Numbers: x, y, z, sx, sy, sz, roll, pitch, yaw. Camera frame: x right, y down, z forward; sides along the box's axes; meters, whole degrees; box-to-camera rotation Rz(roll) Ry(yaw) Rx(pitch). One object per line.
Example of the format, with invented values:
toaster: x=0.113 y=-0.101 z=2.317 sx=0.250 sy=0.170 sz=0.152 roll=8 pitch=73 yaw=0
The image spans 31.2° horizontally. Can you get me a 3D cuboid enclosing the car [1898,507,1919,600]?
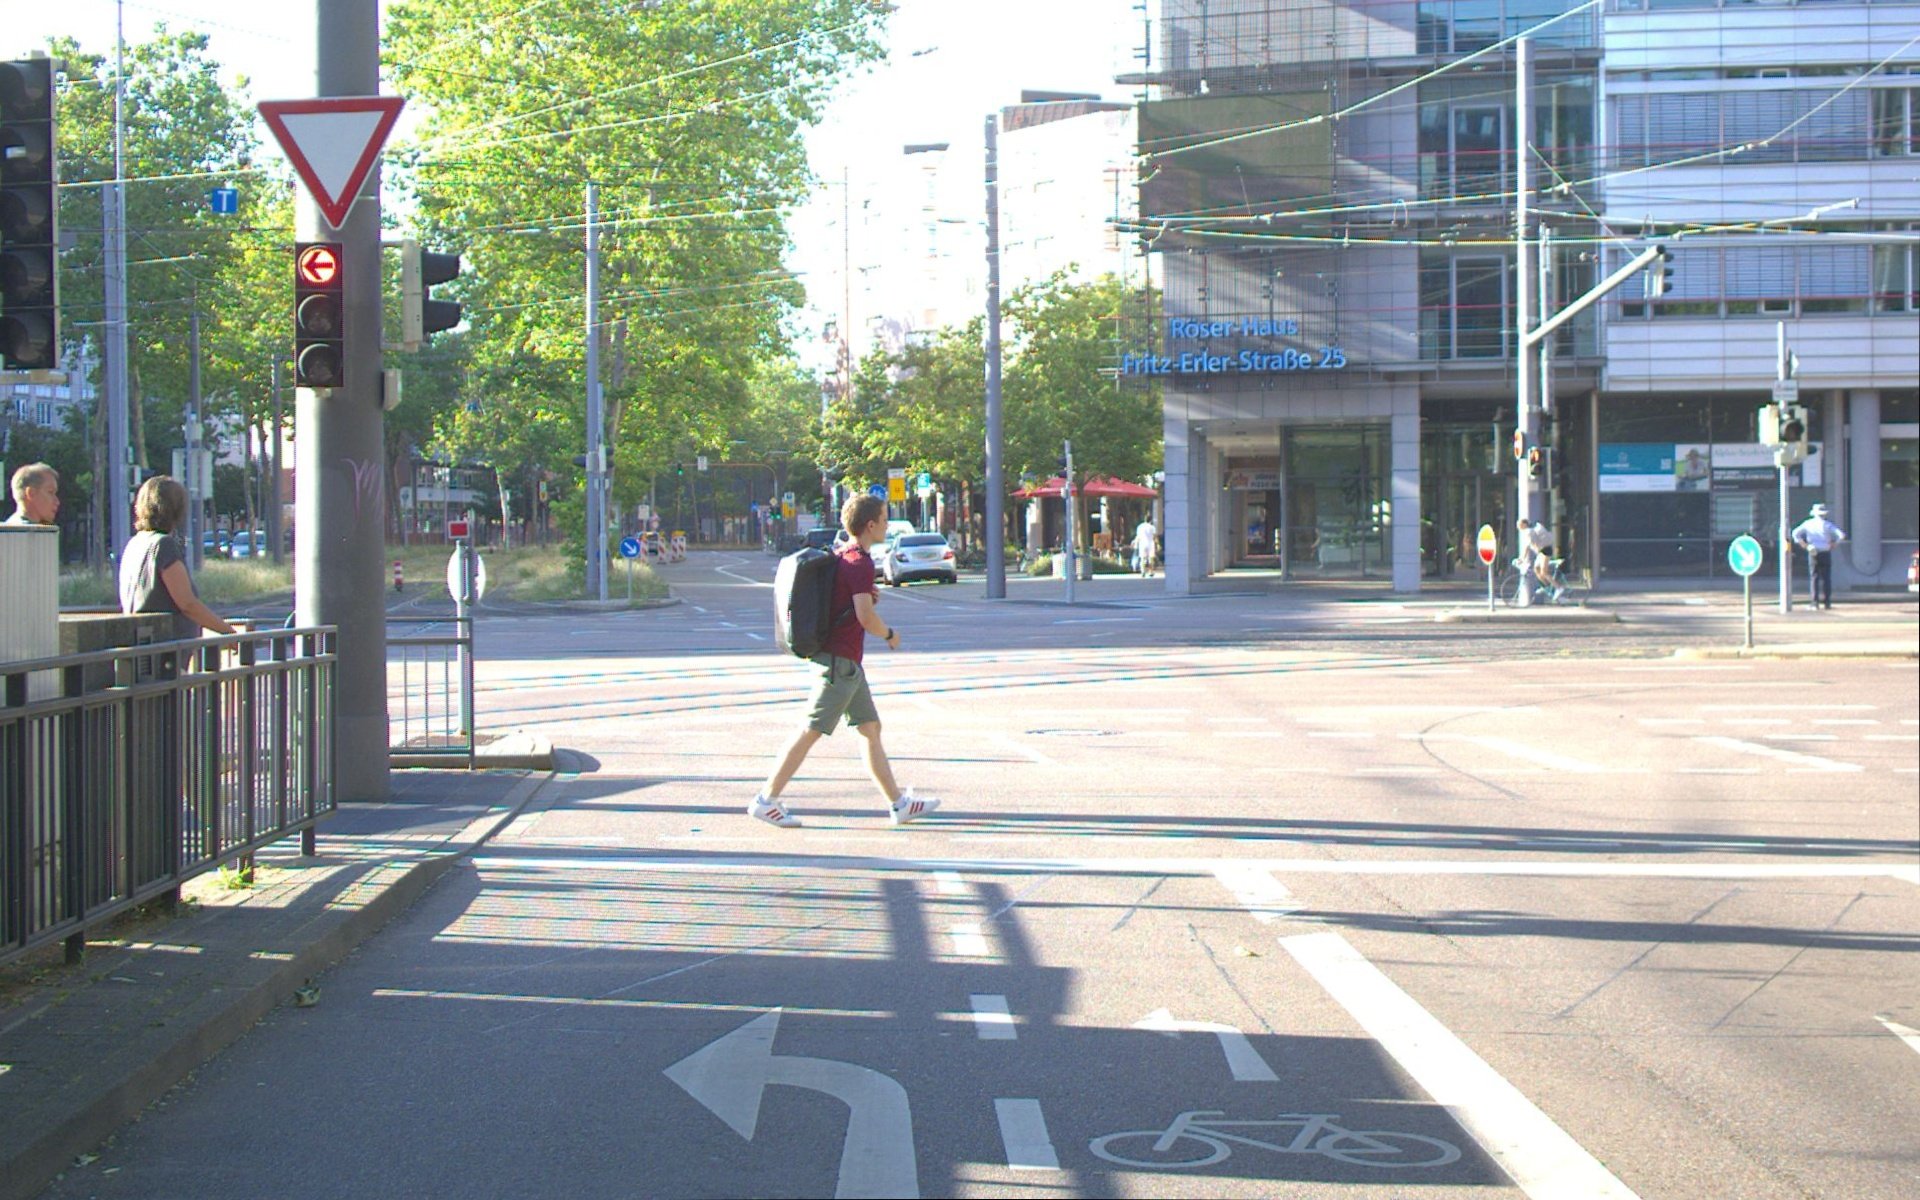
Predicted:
car: x=18.686 y=-0.841 z=59.873 sx=4.241 sy=1.596 sz=1.795 roll=-1 pitch=1 yaw=3

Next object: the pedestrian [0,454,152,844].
pedestrian: x=-4.635 y=0.234 z=17.060 sx=1.145 sy=1.887 sz=0.833 roll=0 pitch=1 yaw=-9

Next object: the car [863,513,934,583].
car: x=-1.842 y=-1.546 z=101.569 sx=1.993 sy=1.985 sz=4.001 roll=-1 pitch=1 yaw=-2

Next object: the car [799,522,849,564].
car: x=-5.474 y=-2.314 z=138.525 sx=1.993 sy=1.656 sz=4.001 roll=-1 pitch=1 yaw=-2

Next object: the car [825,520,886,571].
car: x=-3.570 y=-1.868 z=116.839 sx=1.993 sy=1.656 sz=4.001 roll=-1 pitch=1 yaw=-2

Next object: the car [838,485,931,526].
car: x=-3.340 y=-4.178 z=152.557 sx=3.763 sy=1.744 sz=1.781 roll=1 pitch=1 yaw=13

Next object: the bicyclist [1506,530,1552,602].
bicyclist: x=10.832 y=-0.654 z=65.455 sx=0.819 sy=1.362 sz=0.400 roll=-1 pitch=1 yaw=4

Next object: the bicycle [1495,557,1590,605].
bicycle: x=11.085 y=-0.365 z=65.441 sx=1.741 sy=0.896 sz=0.409 roll=-1 pitch=1 yaw=4

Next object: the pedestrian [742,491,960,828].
pedestrian: x=-0.572 y=0.301 z=17.791 sx=1.073 sy=1.709 sz=0.628 roll=1 pitch=1 yaw=-5

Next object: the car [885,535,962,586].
car: x=-1.030 y=-1.101 z=94.581 sx=1.993 sy=1.327 sz=4.001 roll=-1 pitch=1 yaw=-2

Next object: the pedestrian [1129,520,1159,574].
pedestrian: x=5.071 y=-1.468 z=94.803 sx=0.739 sy=1.460 sz=0.537 roll=-1 pitch=1 yaw=-3

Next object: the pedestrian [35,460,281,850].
pedestrian: x=-3.794 y=0.255 z=16.325 sx=1.071 sy=1.800 sz=0.758 roll=0 pitch=1 yaw=-9

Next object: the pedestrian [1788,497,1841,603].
pedestrian: x=13.661 y=-0.802 z=54.973 sx=0.720 sy=1.676 sz=0.557 roll=1 pitch=1 yaw=5
